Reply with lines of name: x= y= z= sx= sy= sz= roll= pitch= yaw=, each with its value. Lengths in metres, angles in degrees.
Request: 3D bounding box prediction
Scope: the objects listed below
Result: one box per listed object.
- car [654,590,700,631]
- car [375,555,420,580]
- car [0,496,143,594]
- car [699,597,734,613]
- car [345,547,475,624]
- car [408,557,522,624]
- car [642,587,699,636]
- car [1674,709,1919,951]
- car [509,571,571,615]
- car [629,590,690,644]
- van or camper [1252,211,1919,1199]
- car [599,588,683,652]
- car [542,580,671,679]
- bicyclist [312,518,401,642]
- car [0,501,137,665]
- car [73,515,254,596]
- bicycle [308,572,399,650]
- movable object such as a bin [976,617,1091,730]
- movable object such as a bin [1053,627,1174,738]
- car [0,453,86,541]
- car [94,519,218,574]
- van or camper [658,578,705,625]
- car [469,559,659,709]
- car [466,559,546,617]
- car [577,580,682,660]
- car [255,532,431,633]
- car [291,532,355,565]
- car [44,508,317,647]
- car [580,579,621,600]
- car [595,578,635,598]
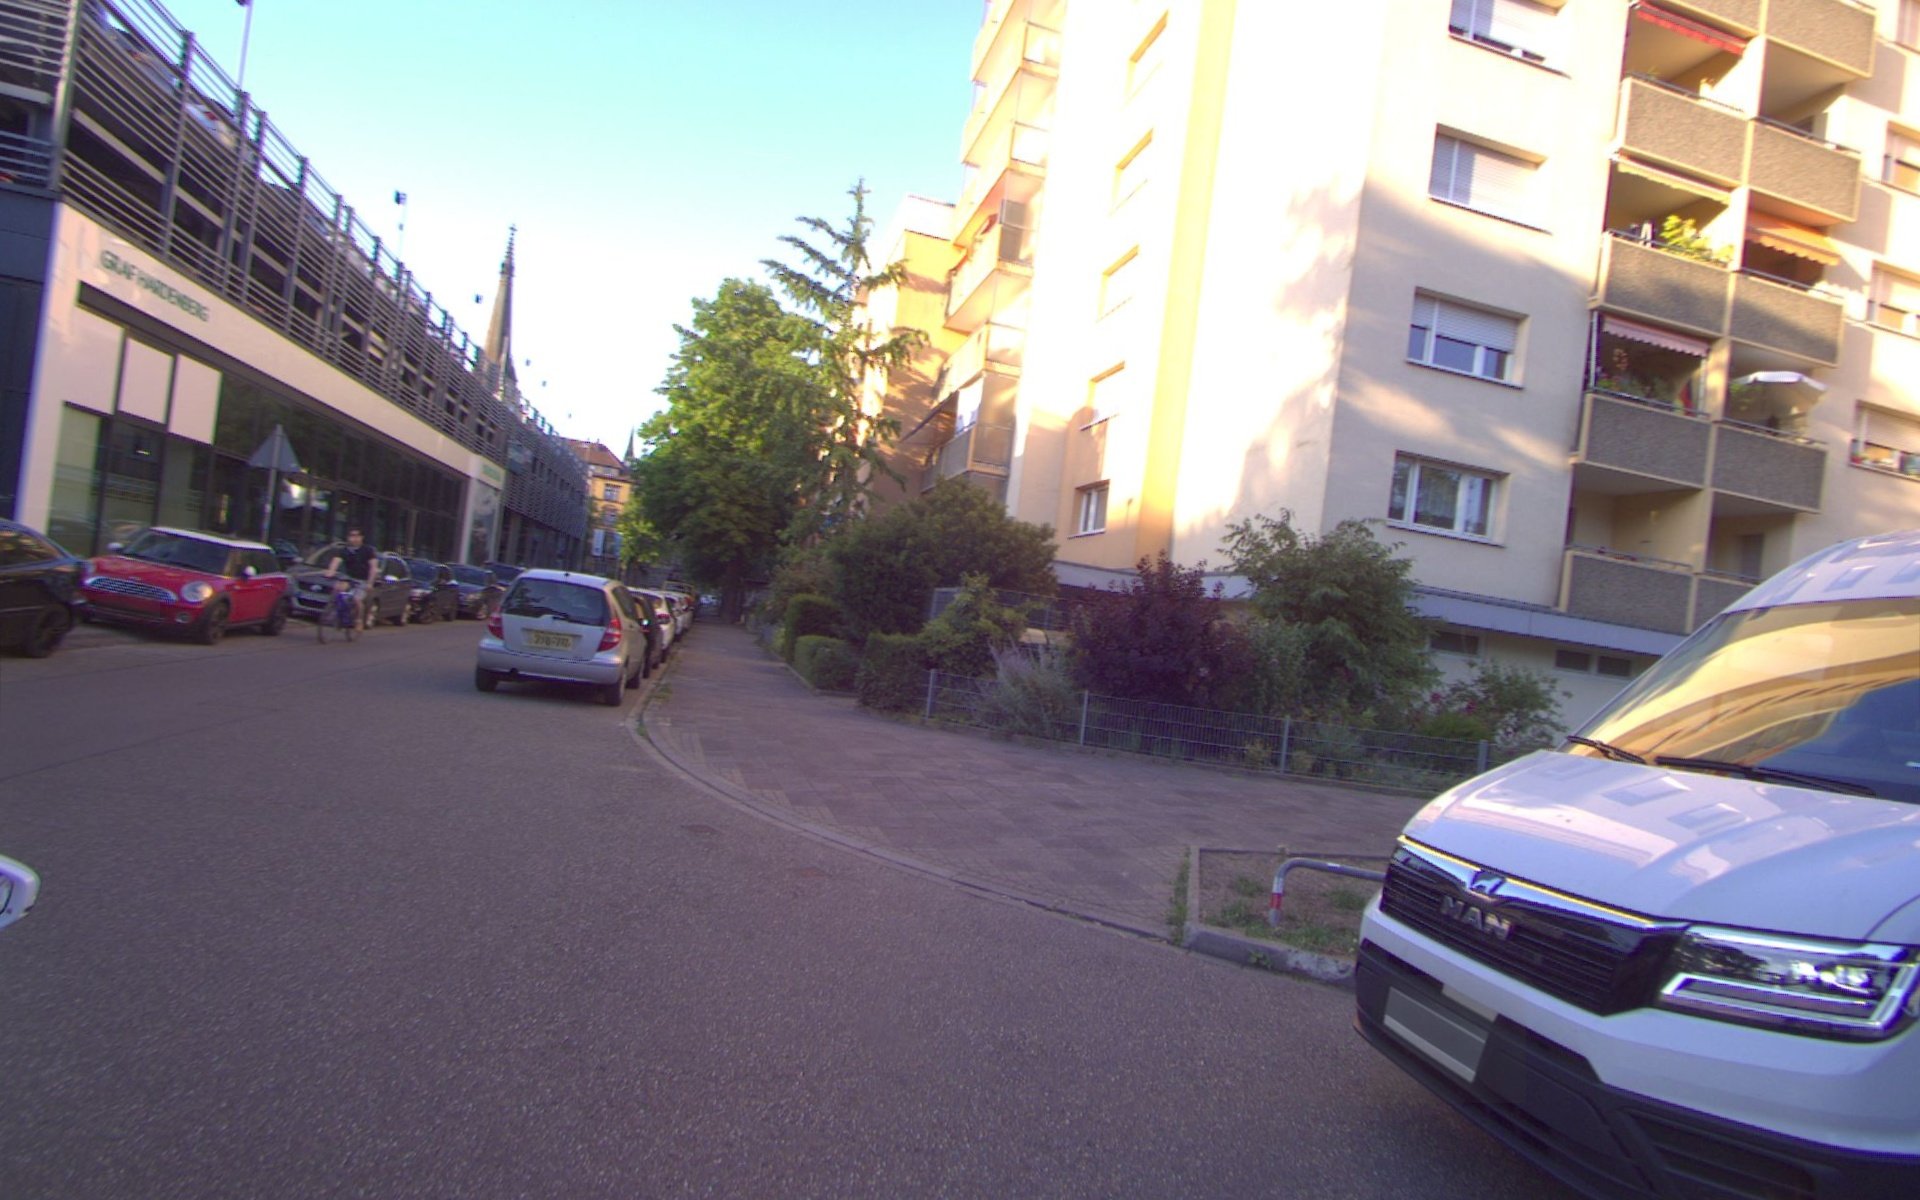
car: x=-12.069 y=0.423 z=43.047 sx=1.589 sy=1.528 sz=3.468 roll=7 pitch=-1 yaw=-14
car: x=-32.900 y=-1.880 z=58.944 sx=1.340 sy=1.270 sz=3.205 roll=7 pitch=-1 yaw=-13
car: x=-17.690 y=-1.053 z=19.239 sx=1.573 sy=1.670 sz=3.866 roll=7 pitch=-1 yaw=-14
car: x=-30.406 y=0.603 z=125.624 sx=1.849 sy=1.483 sz=3.968 roll=8 pitch=-1 yaw=29
car: x=-13.605 y=-0.361 z=25.152 sx=1.710 sy=1.417 sz=3.995 roll=13 pitch=-2 yaw=-15
car: x=-14.672 y=-0.287 z=30.069 sx=1.912 sy=1.616 sz=4.195 roll=7 pitch=-1 yaw=-12
car: x=-11.011 y=0.408 z=38.481 sx=1.769 sy=1.581 sz=4.183 roll=7 pitch=-1 yaw=-14
car: x=8.014 y=1.980 z=7.856 sx=1.604 sy=1.531 sz=3.554 roll=8 pitch=1 yaw=-18
car: x=-17.346 y=-0.298 z=41.679 sx=1.676 sy=1.524 sz=3.781 roll=7 pitch=-1 yaw=-14
car: x=-9.833 y=0.519 z=33.142 sx=1.589 sy=1.479 sz=4.043 roll=7 pitch=-1 yaw=-14
van or camper: x=4.806 y=0.972 z=3.595 sx=6.753 sy=2.619 sz=2.095 roll=8 pitch=-2 yaw=-8
car: x=-8.726 y=0.496 z=27.861 sx=1.787 sy=1.433 sz=4.613 roll=7 pitch=-1 yaw=-14
car: x=-6.331 y=0.474 z=18.407 sx=1.695 sy=1.436 sz=4.017 roll=7 pitch=-1 yaw=-14
bicyclist: x=-9.672 y=-0.310 z=16.169 sx=0.849 sy=1.830 sz=1.012 roll=7 pitch=0 yaw=-19
car: x=-9.723 y=-0.256 z=9.074 sx=1.644 sy=1.430 sz=4.401 roll=13 pitch=-3 yaw=-15
car: x=-18.779 y=-0.979 z=23.973 sx=1.676 sy=1.533 sz=4.181 roll=7 pitch=-1 yaw=-14
bicycle: x=-9.704 y=0.162 z=16.164 sx=0.750 sy=1.110 sz=1.858 roll=6 pitch=-1 yaw=-18
movable object such as a bin: x=1.108 y=1.112 z=15.605 sx=1.110 sy=1.488 sz=1.576 roll=7 pitch=0 yaw=-18
movable object such as a bin: x=2.408 y=1.283 z=16.053 sx=1.169 sy=1.488 sz=1.576 roll=7 pitch=0 yaw=-18
car: x=-20.969 y=-2.312 z=21.593 sx=1.676 sy=1.678 sz=3.728 roll=7 pitch=-1 yaw=-14
car: x=-27.025 y=-1.744 z=33.975 sx=1.676 sy=1.451 sz=3.910 roll=7 pitch=-1 yaw=-14
van or camper: x=-14.656 y=0.049 z=53.074 sx=2.039 sy=2.121 sz=5.075 roll=7 pitch=-1 yaw=-15
car: x=-5.289 y=0.409 z=13.940 sx=1.787 sy=1.594 sz=3.874 roll=7 pitch=-1 yaw=-14
car: x=-16.300 y=-0.424 z=36.303 sx=1.676 sy=1.777 sz=4.391 roll=7 pitch=-1 yaw=-14
car: x=-7.345 y=0.403 z=22.672 sx=1.787 sy=1.433 sz=3.886 roll=7 pitch=-1 yaw=-13
car: x=-12.359 y=-0.319 z=20.456 sx=1.643 sy=1.512 sz=3.876 roll=13 pitch=-2 yaw=-13
car: x=-30.591 y=-2.450 z=48.408 sx=1.402 sy=1.270 sz=3.517 roll=7 pitch=-1 yaw=-13
car: x=-11.085 y=-0.314 z=14.679 sx=1.645 sy=1.425 sz=3.913 roll=13 pitch=-2 yaw=-17
car: x=-40.275 y=-1.212 z=112.810 sx=4.083 sy=1.636 sz=1.907 roll=10 pitch=-1 yaw=-16
car: x=-44.900 y=-1.564 z=130.962 sx=4.779 sy=1.753 sz=1.912 roll=9 pitch=0 yaw=-20
